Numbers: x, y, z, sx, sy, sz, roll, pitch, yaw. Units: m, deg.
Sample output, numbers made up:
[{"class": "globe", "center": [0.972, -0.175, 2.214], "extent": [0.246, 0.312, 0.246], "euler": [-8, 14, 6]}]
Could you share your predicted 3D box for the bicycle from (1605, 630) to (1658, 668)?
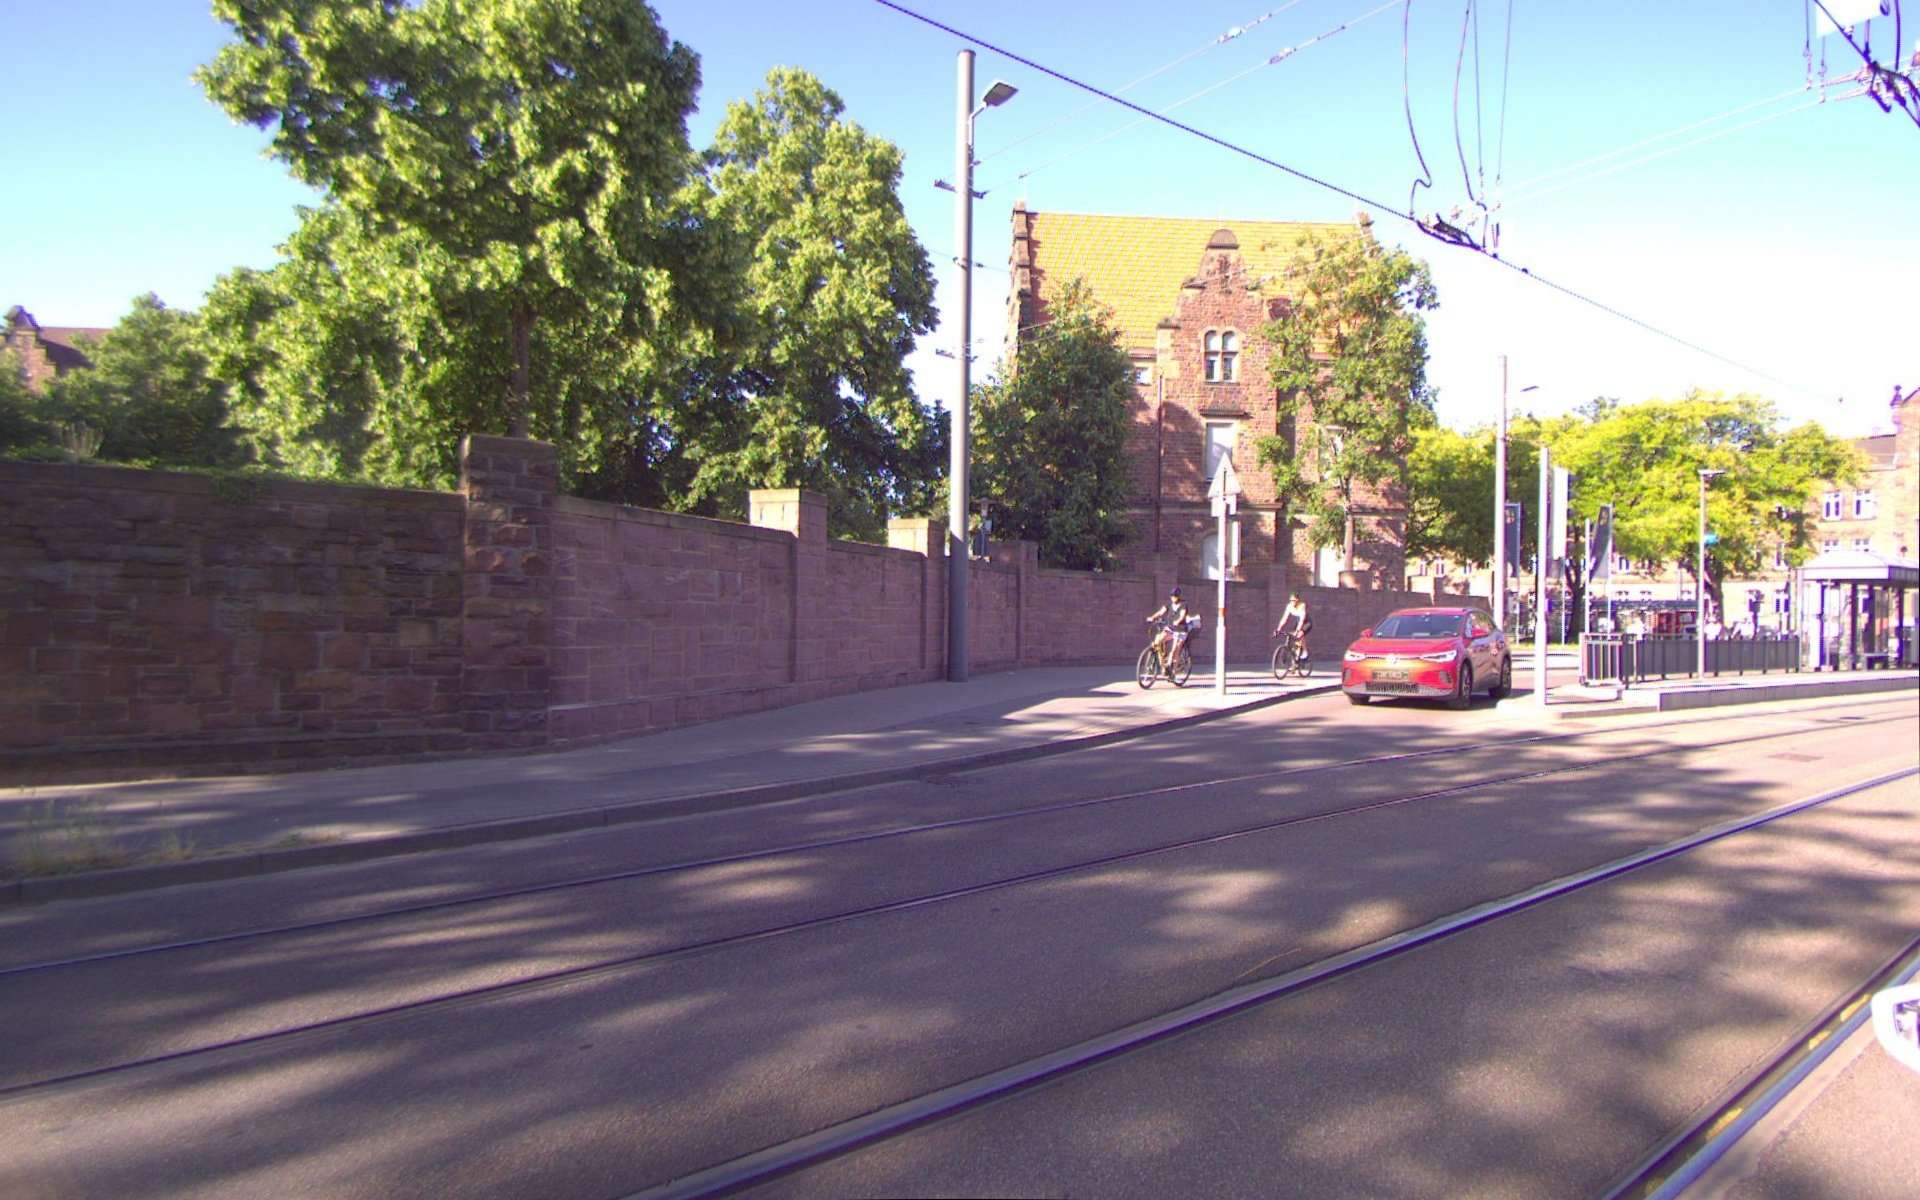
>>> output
[{"class": "bicycle", "center": [22.494, 1.618, 33.637], "extent": [1.933, 1.214, 0.810], "euler": [2, 0, -35]}]

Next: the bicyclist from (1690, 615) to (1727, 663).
[{"class": "bicyclist", "center": [27.142, 1.399, 36.440], "extent": [1.219, 1.697, 0.646], "euler": [0, 2, -33]}]

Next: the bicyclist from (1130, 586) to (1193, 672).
[{"class": "bicyclist", "center": [3.632, 0.509, 18.052], "extent": [0.645, 1.478, 1.147], "euler": [1, 0, 38]}]

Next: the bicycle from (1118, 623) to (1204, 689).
[{"class": "bicycle", "center": [3.640, 0.979, 18.065], "extent": [0.676, 1.103, 2.055], "euler": [1, -1, 38]}]

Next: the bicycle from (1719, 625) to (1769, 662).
[{"class": "bicycle", "center": [27.640, 1.524, 35.407], "extent": [2.067, 1.247, 0.772], "euler": [1, -1, -34]}]

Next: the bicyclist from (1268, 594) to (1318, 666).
[{"class": "bicyclist", "center": [7.083, 0.629, 21.343], "extent": [0.644, 1.478, 1.147], "euler": [1, 0, 37]}]

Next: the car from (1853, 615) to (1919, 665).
[{"class": "car", "center": [36.644, 1.526, 39.159], "extent": [4.213, 1.812, 1.815], "euler": [1, -1, -35]}]

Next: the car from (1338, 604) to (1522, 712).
[{"class": "car", "center": [8.251, 0.921, 17.435], "extent": [1.797, 1.628, 4.338], "euler": [1, -1, 41]}]

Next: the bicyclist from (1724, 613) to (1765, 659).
[{"class": "bicyclist", "center": [27.640, 1.258, 35.408], "extent": [1.334, 1.557, 0.756], "euler": [1, 0, -34]}]

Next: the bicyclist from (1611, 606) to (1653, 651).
[{"class": "bicyclist", "center": [22.502, 0.954, 33.628], "extent": [1.178, 1.490, 0.751], "euler": [2, 0, -35]}]

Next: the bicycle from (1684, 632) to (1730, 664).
[{"class": "bicycle", "center": [27.084, 1.727, 36.407], "extent": [1.993, 1.087, 0.665], "euler": [1, 1, -33]}]

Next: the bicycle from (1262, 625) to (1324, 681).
[{"class": "bicycle", "center": [7.102, 1.101, 21.375], "extent": [0.676, 1.103, 1.848], "euler": [1, -1, 37]}]
